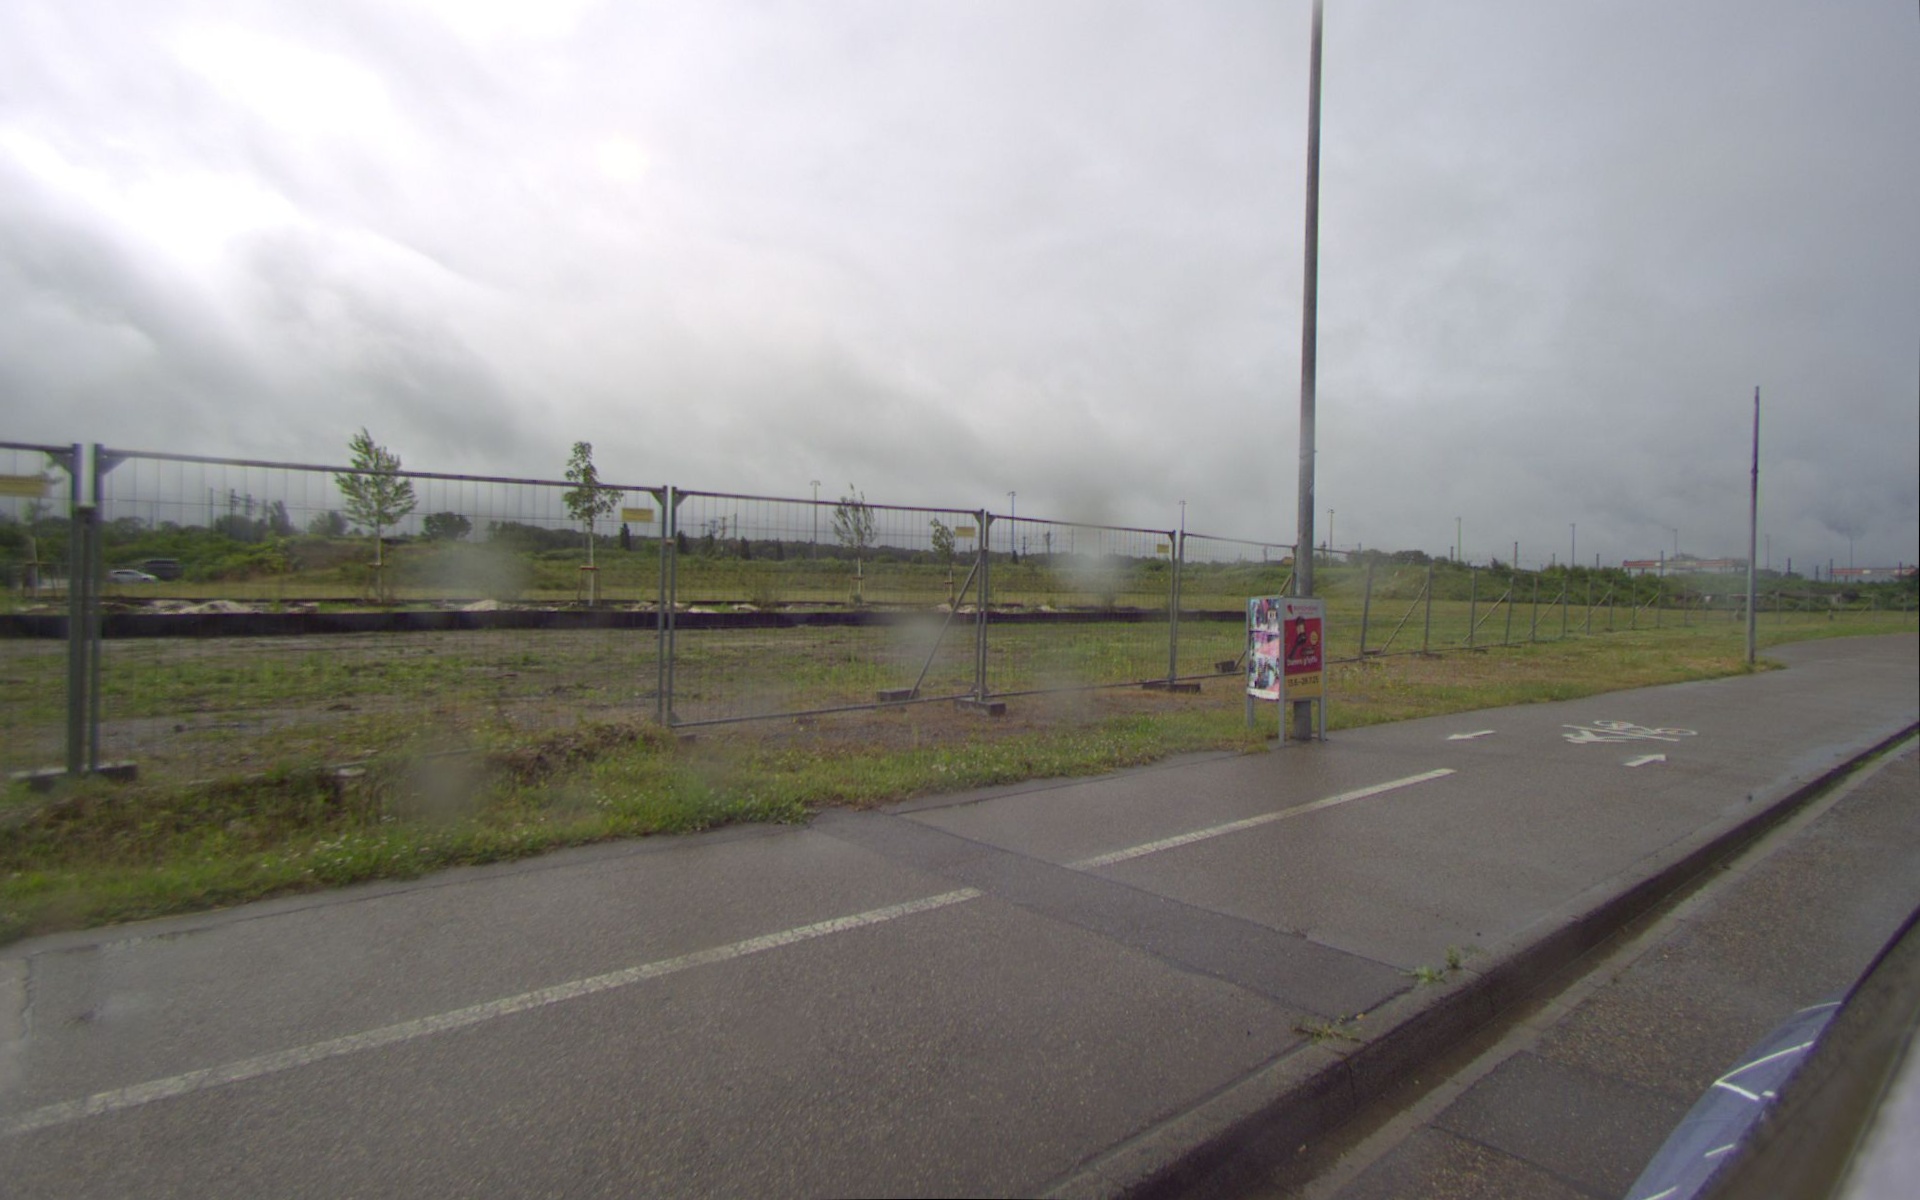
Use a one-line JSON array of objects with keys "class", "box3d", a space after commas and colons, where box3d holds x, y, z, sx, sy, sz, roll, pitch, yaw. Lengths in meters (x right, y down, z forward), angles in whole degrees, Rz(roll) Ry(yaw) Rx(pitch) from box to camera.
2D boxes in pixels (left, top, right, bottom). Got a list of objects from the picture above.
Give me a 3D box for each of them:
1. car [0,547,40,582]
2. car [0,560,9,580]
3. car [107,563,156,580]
[{"class": "car", "box3d": [-64.428, -2.381, 68.521, 1.959, 2.040, 4.817, 0, -2, -27]}, {"class": "car", "box3d": [-87.270, -2.699, 89.495, 4.280, 1.709, 1.801, 0, -2, -29]}, {"class": "car", "box3d": [-87.950, -3.028, 107.496, 3.926, 1.749, 1.999, 0, 1, -38]}]
